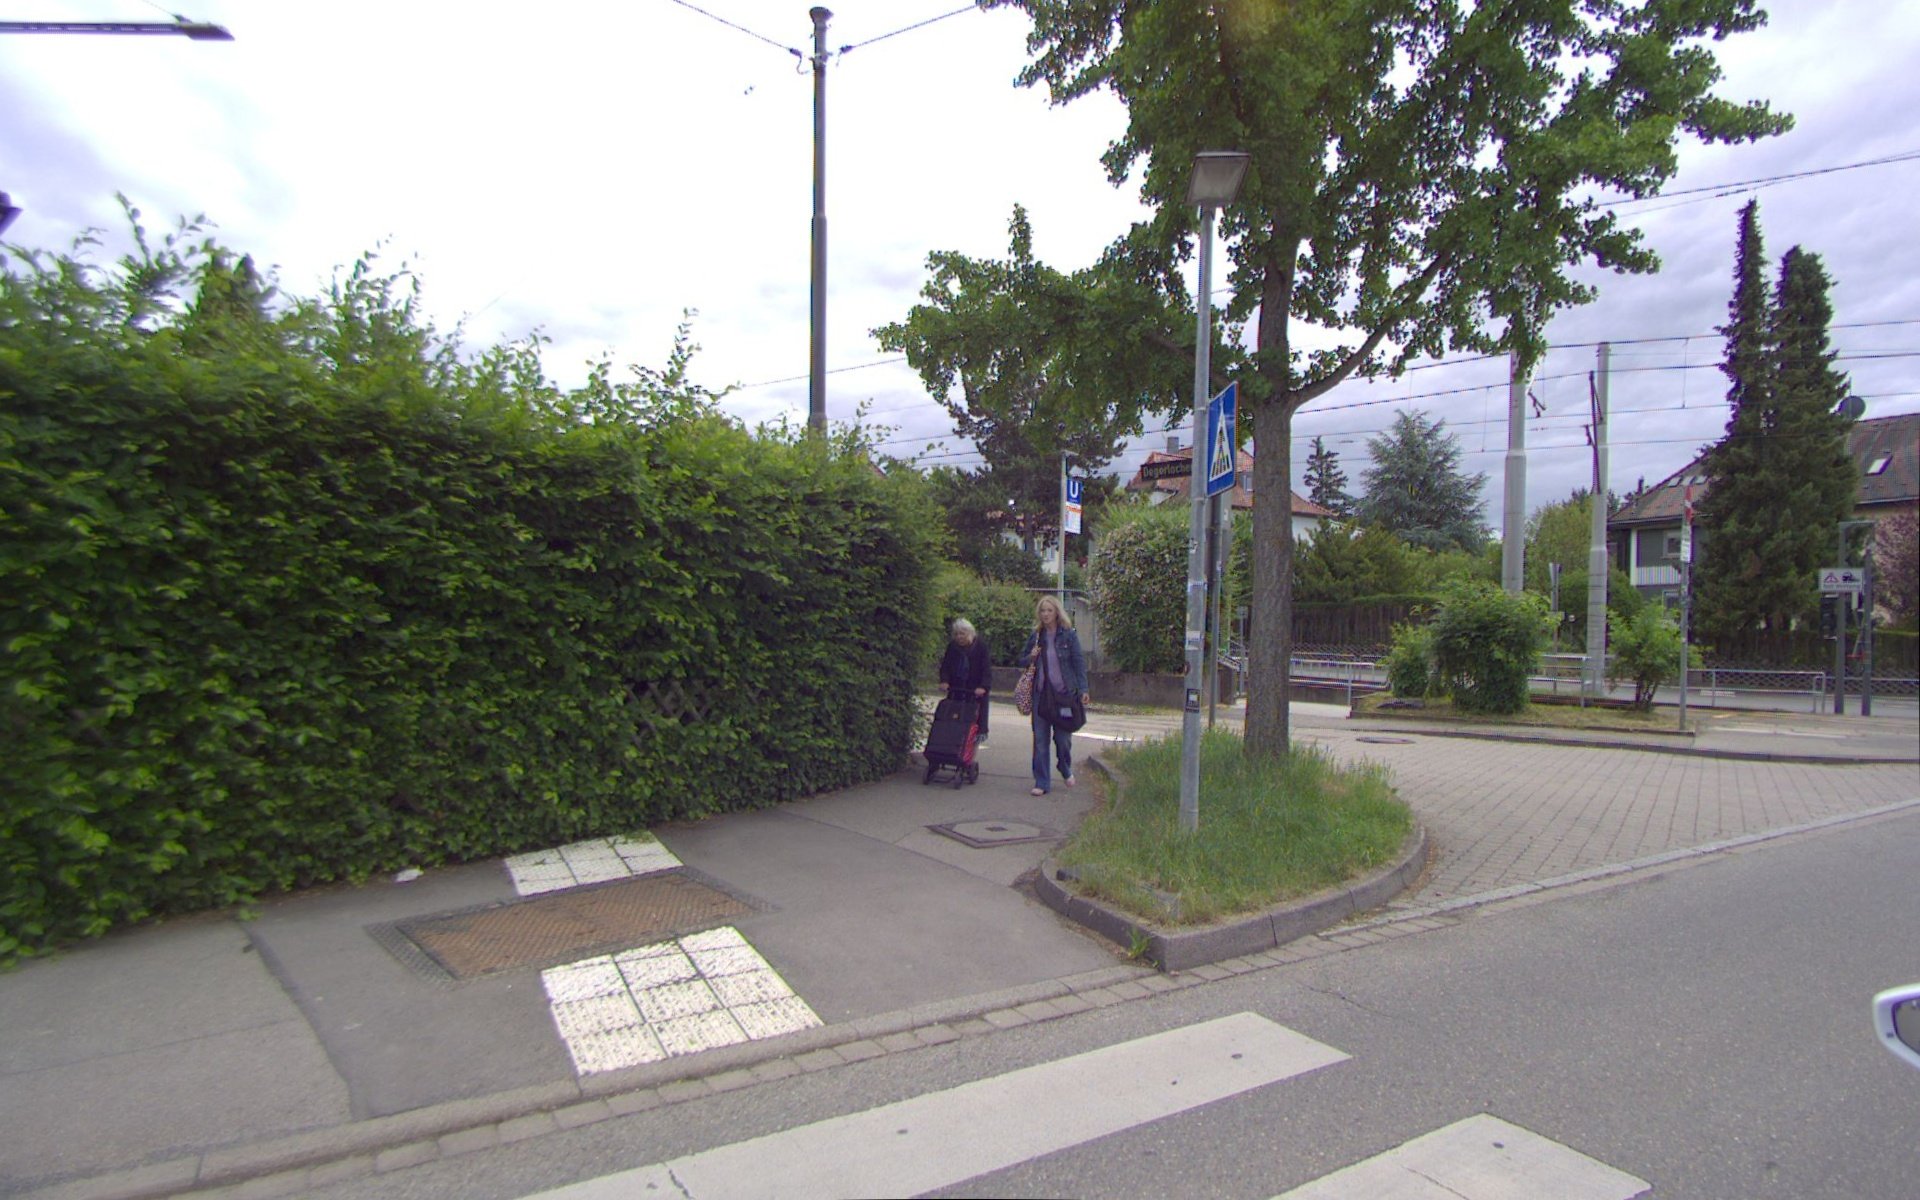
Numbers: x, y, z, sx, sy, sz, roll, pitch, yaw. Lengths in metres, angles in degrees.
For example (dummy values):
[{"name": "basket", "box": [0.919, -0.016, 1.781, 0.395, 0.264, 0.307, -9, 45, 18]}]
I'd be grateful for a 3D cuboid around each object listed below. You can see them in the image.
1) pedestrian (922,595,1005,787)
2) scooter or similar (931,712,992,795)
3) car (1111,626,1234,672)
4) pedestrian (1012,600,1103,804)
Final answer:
[{"name": "pedestrian", "box": [0.039, 0.793, 9.075, 0.664, 1.641, 0.598, 2, 1, 1]}, {"name": "scooter or similar", "box": [0.016, 1.304, 8.575, 0.479, 0.618, 0.400, 3, 1, 1]}, {"name": "car", "box": [7.844, 1.776, 37.129, 4.052, 1.521, 1.816, 1, -1, 36]}, {"name": "pedestrian", "box": [0.816, 0.835, 8.548, 0.664, 1.641, 0.598, 2, 1, 1]}]
